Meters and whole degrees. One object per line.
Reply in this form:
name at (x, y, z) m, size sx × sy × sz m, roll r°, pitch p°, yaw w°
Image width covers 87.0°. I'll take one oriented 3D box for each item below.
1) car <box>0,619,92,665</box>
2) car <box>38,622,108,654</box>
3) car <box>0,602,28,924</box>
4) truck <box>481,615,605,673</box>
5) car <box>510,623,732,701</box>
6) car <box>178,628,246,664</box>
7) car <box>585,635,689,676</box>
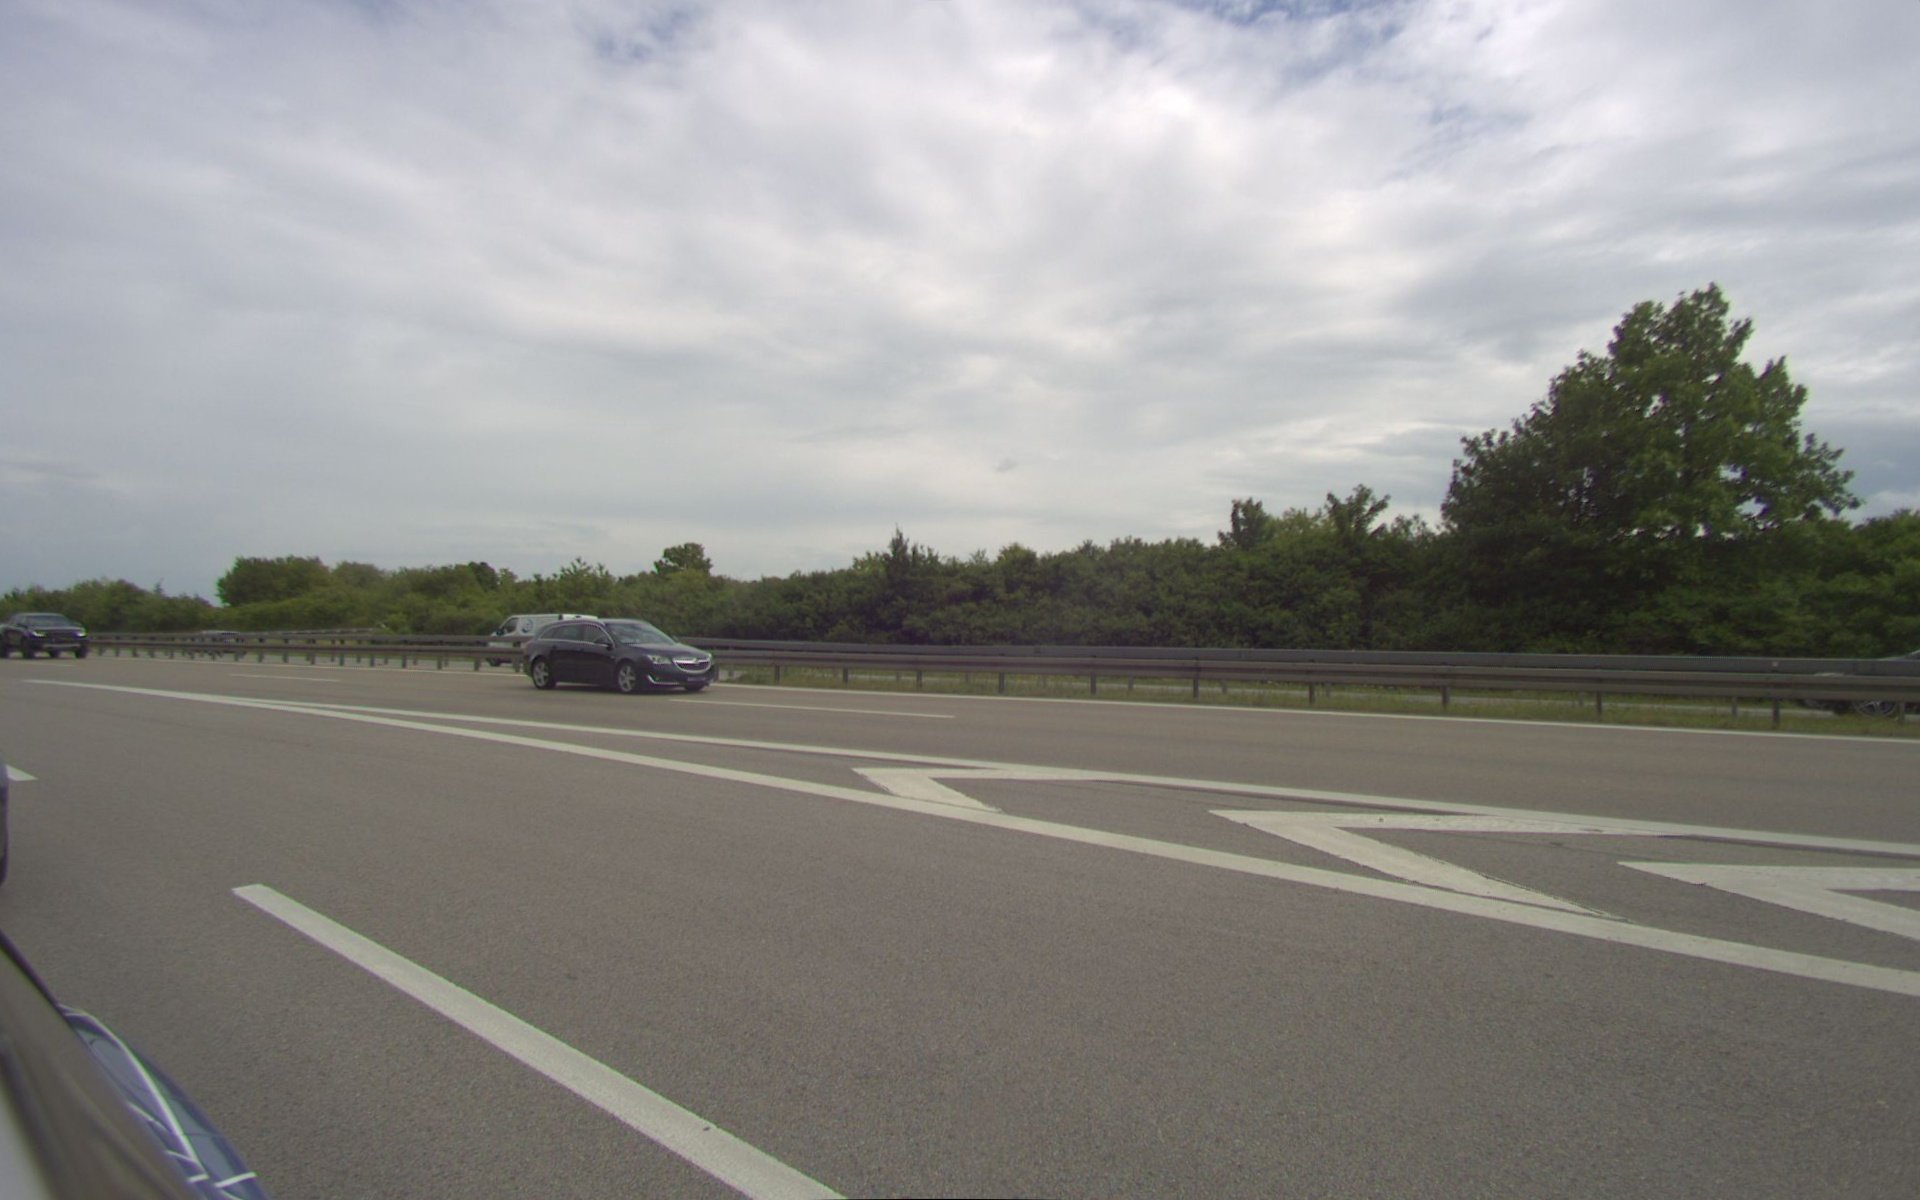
car at (-38.283, 1.730, 42.100) m, size 5.398 × 1.799 × 1.977 m, roll -1°, pitch -2°, yaw 34°
car at (-65.784, 2.790, 75.009) m, size 6.657 × 2.348 × 2.145 m, roll -1°, pitch -2°, yaw 33°
car at (-6.583, 0.794, 5.339) m, size 4.023 × 1.509 × 1.827 m, roll -1°, pitch -1°, yaw 38°
truck at (-15.486, 1.608, 37.518) m, size 4.705 × 2.029 × 1.977 m, roll -1°, pitch -2°, yaw 33°
car at (-6.925, 1.196, 20.498) m, size 4.784 × 1.435 × 1.707 m, roll -1°, pitch -2°, yaw 34°
car at (-45.191, 2.732, 61.095) m, size 3.986 × 2.029 × 1.979 m, roll -1°, pitch 0°, yaw 32°
car at (-13.009, 2.191, 40.736) m, size 3.990 × 1.530 × 1.977 m, roll -1°, pitch -2°, yaw 34°
